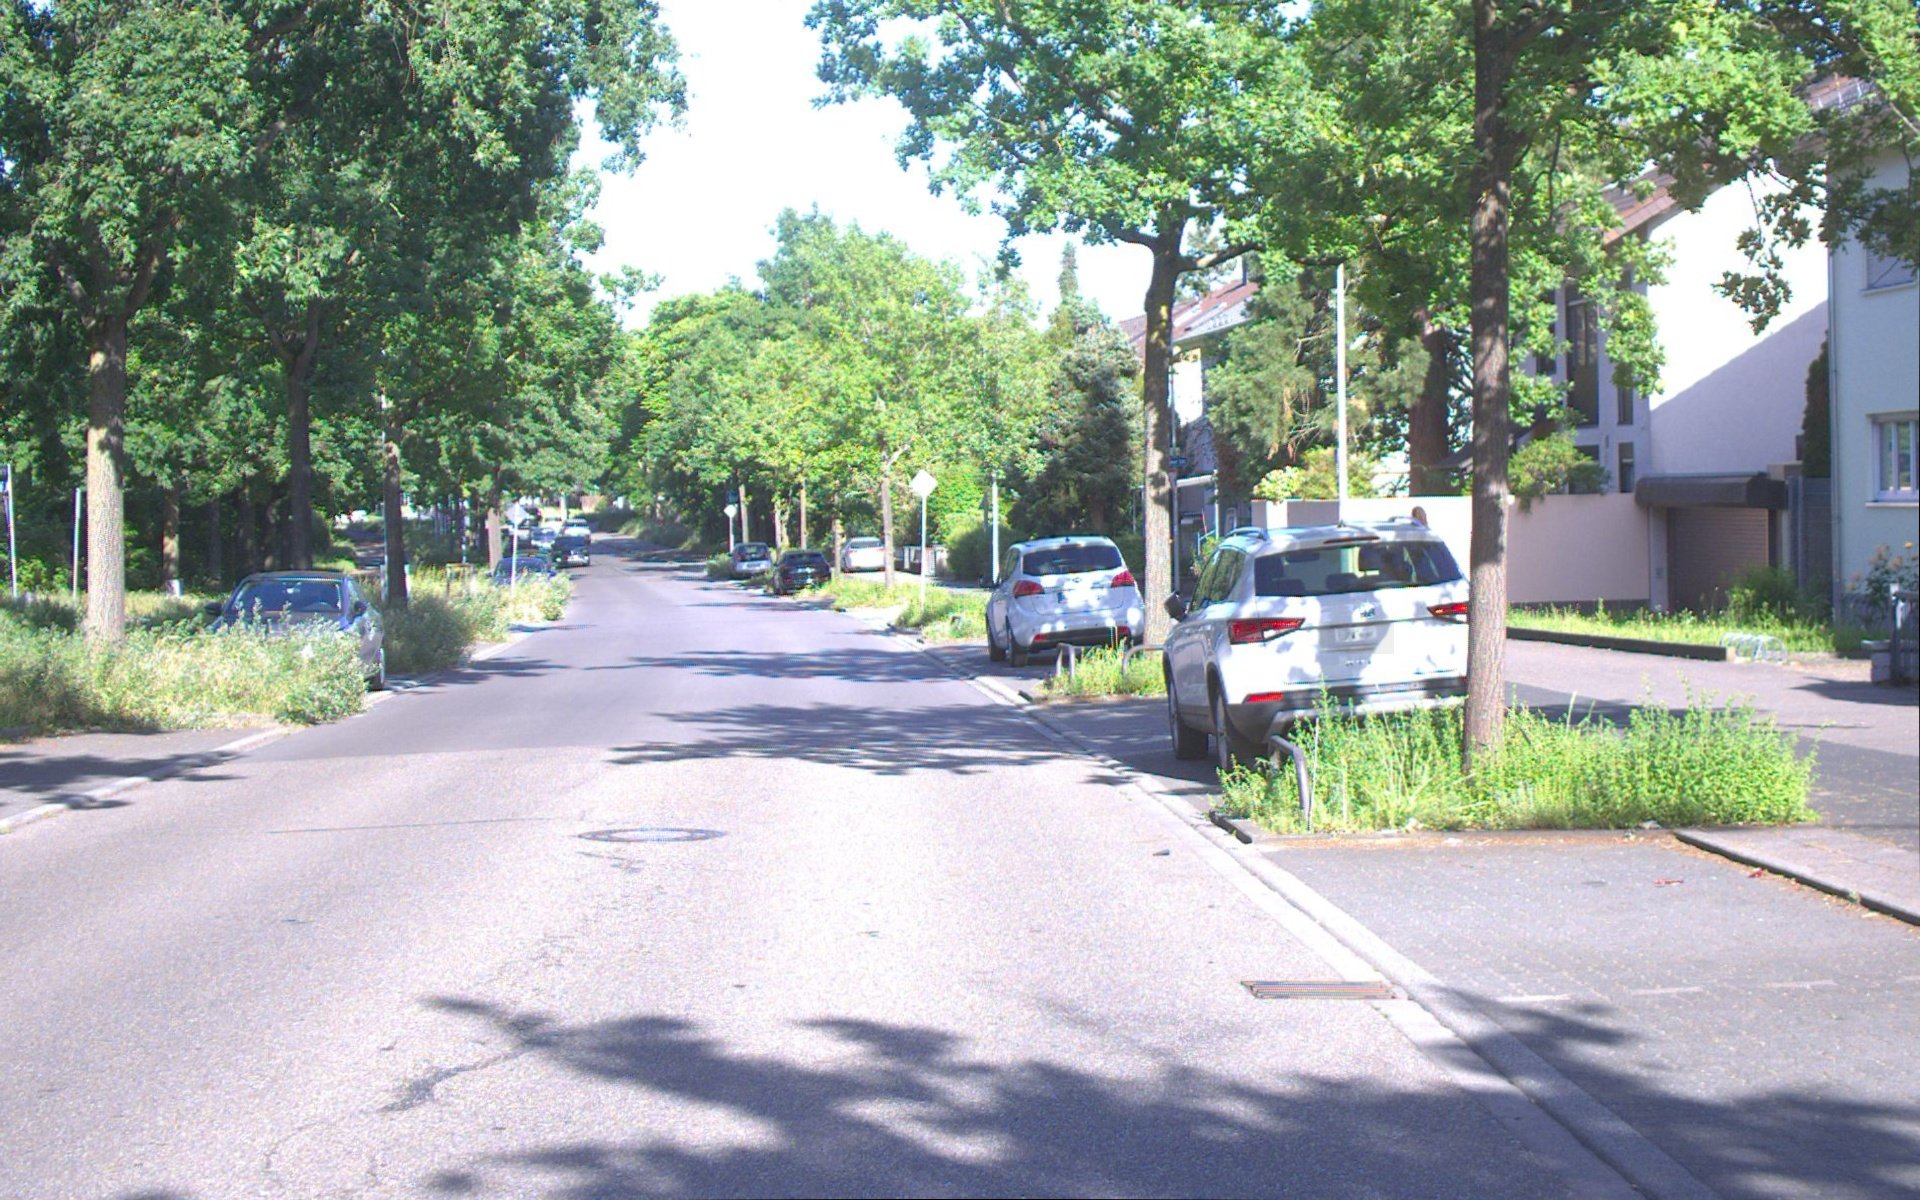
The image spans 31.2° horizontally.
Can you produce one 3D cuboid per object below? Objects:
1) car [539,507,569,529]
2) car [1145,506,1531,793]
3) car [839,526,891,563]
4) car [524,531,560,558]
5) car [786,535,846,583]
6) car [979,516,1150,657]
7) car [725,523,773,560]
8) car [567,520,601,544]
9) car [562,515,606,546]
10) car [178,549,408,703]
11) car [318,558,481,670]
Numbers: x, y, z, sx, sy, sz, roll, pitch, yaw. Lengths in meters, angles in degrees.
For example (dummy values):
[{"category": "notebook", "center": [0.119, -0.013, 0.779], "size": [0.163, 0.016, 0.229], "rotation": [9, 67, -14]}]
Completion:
[{"category": "car", "center": [-27.019, -5.445, 228.789], "size": [1.755, 1.449, 4.001], "rotation": [-1, 1, -4]}, {"category": "car", "center": [2.405, 0.261, 22.868], "size": [1.935, 1.698, 4.001], "rotation": [-1, 1, -2]}, {"category": "car", "center": [-3.890, -2.277, 140.422], "size": [1.933, 1.449, 4.001], "rotation": [-1, 1, -4]}, {"category": "car", "center": [-23.579, -3.123, 194.099], "size": [1.755, 1.449, 4.001], "rotation": [-1, 1, -4]}, {"category": "car", "center": [-4.792, -1.385, 114.359], "size": [1.933, 1.537, 4.001], "rotation": [-1, 1, -2]}, {"category": "car", "center": [1.330, -0.211, 45.456], "size": [1.933, 1.736, 4.001], "rotation": [-1, 1, -2]}, {"category": "car", "center": [-8.776, -2.433, 142.826], "size": [1.933, 1.449, 4.001], "rotation": [-1, 1, -4]}, {"category": "car", "center": [-23.704, -4.265, 217.019], "size": [1.933, 1.449, 4.001], "rotation": [-1, 1, -4]}, {"category": "car", "center": [-18.265, -3.356, 167.139], "size": [1.933, 1.449, 4.001], "rotation": [-1, 1, -4]}, {"category": "car", "center": [-7.142, 0.236, 37.163], "size": [1.993, 1.551, 4.001], "rotation": [0, 1, -5]}, {"category": "car", "center": [-7.975, 0.168, 49.158], "size": [1.796, 1.474, 3.520], "rotation": [-1, 1, -1]}]
